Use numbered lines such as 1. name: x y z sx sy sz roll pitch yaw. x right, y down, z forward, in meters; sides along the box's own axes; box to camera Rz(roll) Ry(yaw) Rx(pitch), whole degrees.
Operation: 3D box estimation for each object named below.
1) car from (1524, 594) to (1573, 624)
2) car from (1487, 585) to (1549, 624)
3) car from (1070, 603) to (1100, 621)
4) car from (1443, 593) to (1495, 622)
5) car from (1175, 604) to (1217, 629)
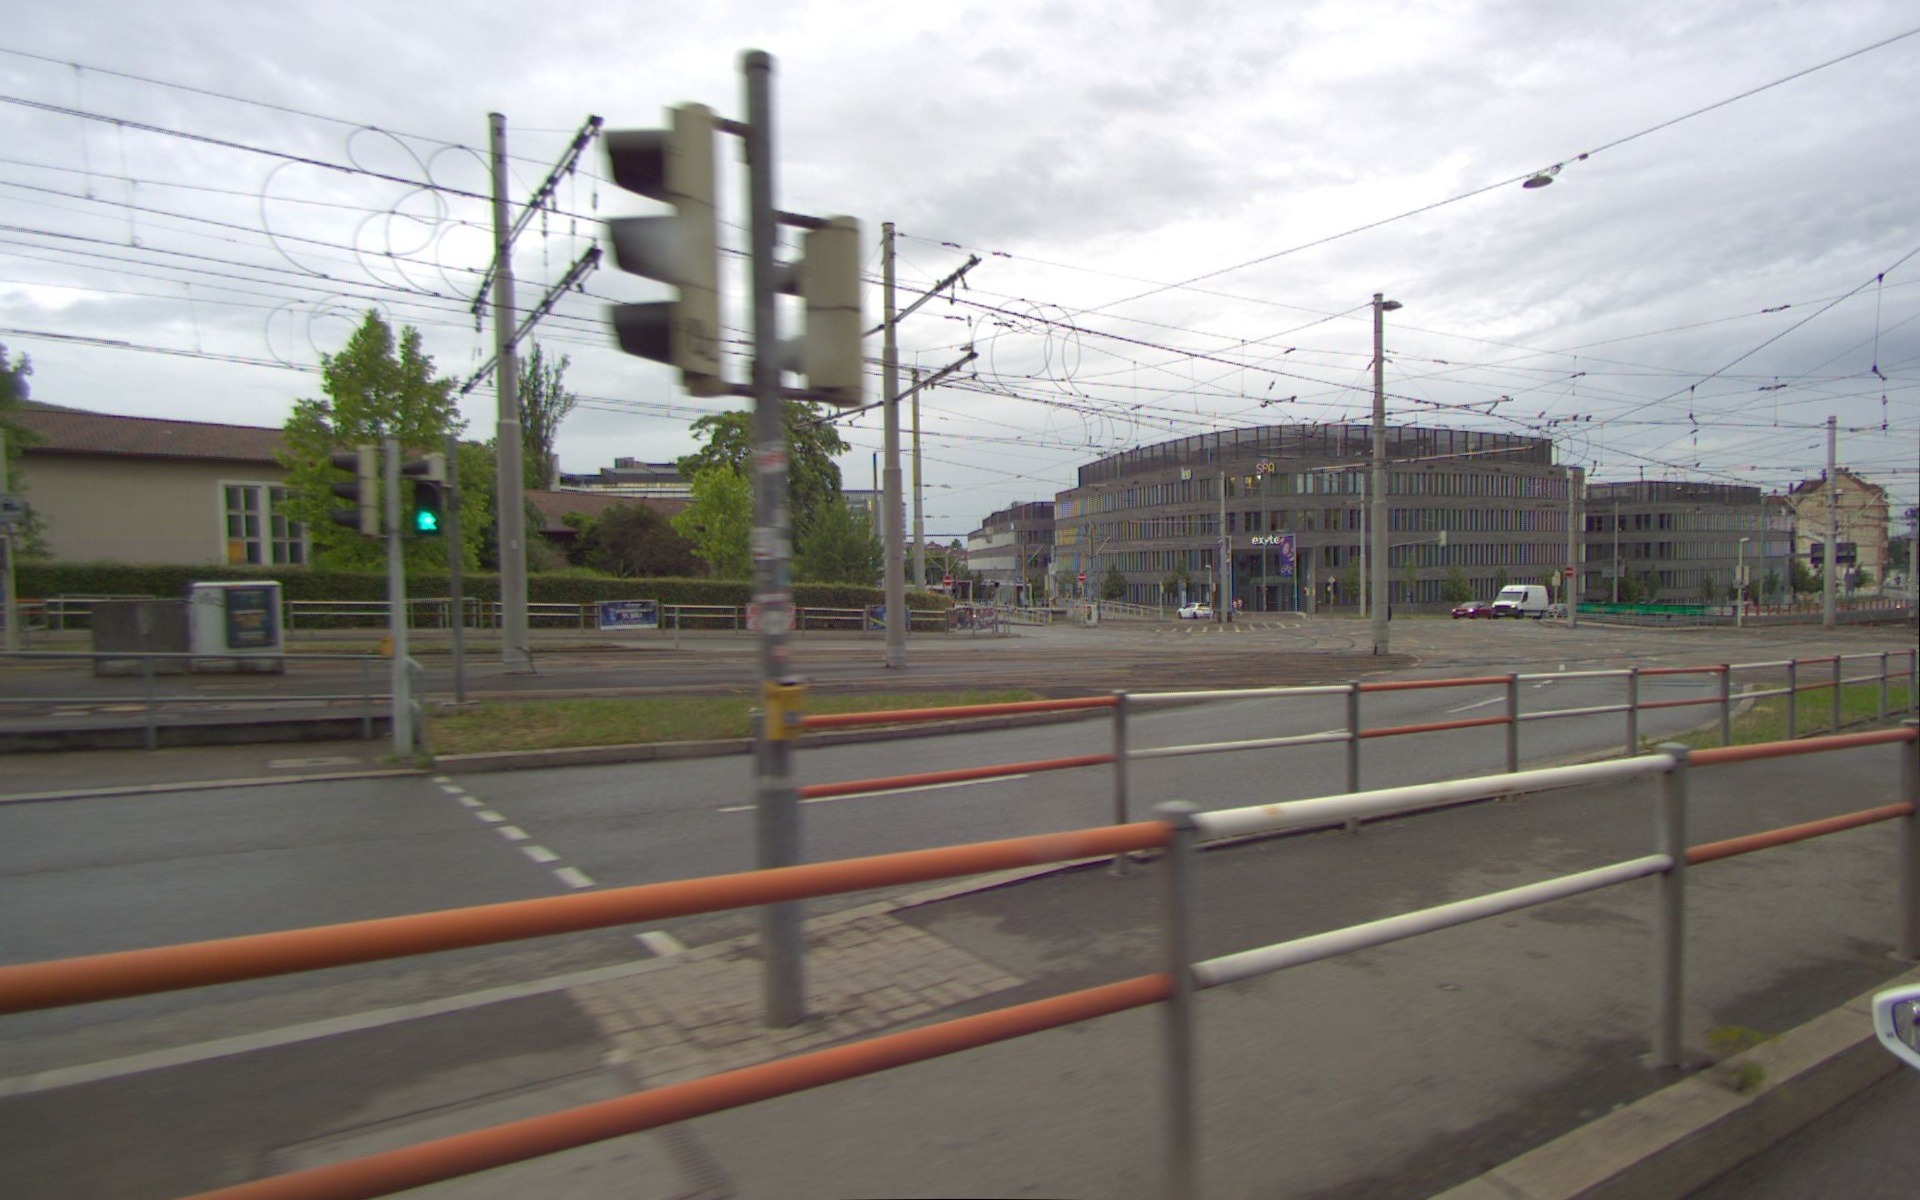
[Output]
1. car: 47.977 0.736 81.913 4.209 2.181 1.979 4 -2 -37
2. car: 42.170 0.388 75.849 5.665 2.869 1.979 1 -2 -37
3. car: 13.598 1.313 109.252 1.966 1.840 3.990 3 -1 -12
4. car: 39.842 0.573 78.614 4.208 2.181 1.979 2 -1 -37
5. car: 20.794 1.445 88.633 1.966 2.040 3.990 3 -1 -12
